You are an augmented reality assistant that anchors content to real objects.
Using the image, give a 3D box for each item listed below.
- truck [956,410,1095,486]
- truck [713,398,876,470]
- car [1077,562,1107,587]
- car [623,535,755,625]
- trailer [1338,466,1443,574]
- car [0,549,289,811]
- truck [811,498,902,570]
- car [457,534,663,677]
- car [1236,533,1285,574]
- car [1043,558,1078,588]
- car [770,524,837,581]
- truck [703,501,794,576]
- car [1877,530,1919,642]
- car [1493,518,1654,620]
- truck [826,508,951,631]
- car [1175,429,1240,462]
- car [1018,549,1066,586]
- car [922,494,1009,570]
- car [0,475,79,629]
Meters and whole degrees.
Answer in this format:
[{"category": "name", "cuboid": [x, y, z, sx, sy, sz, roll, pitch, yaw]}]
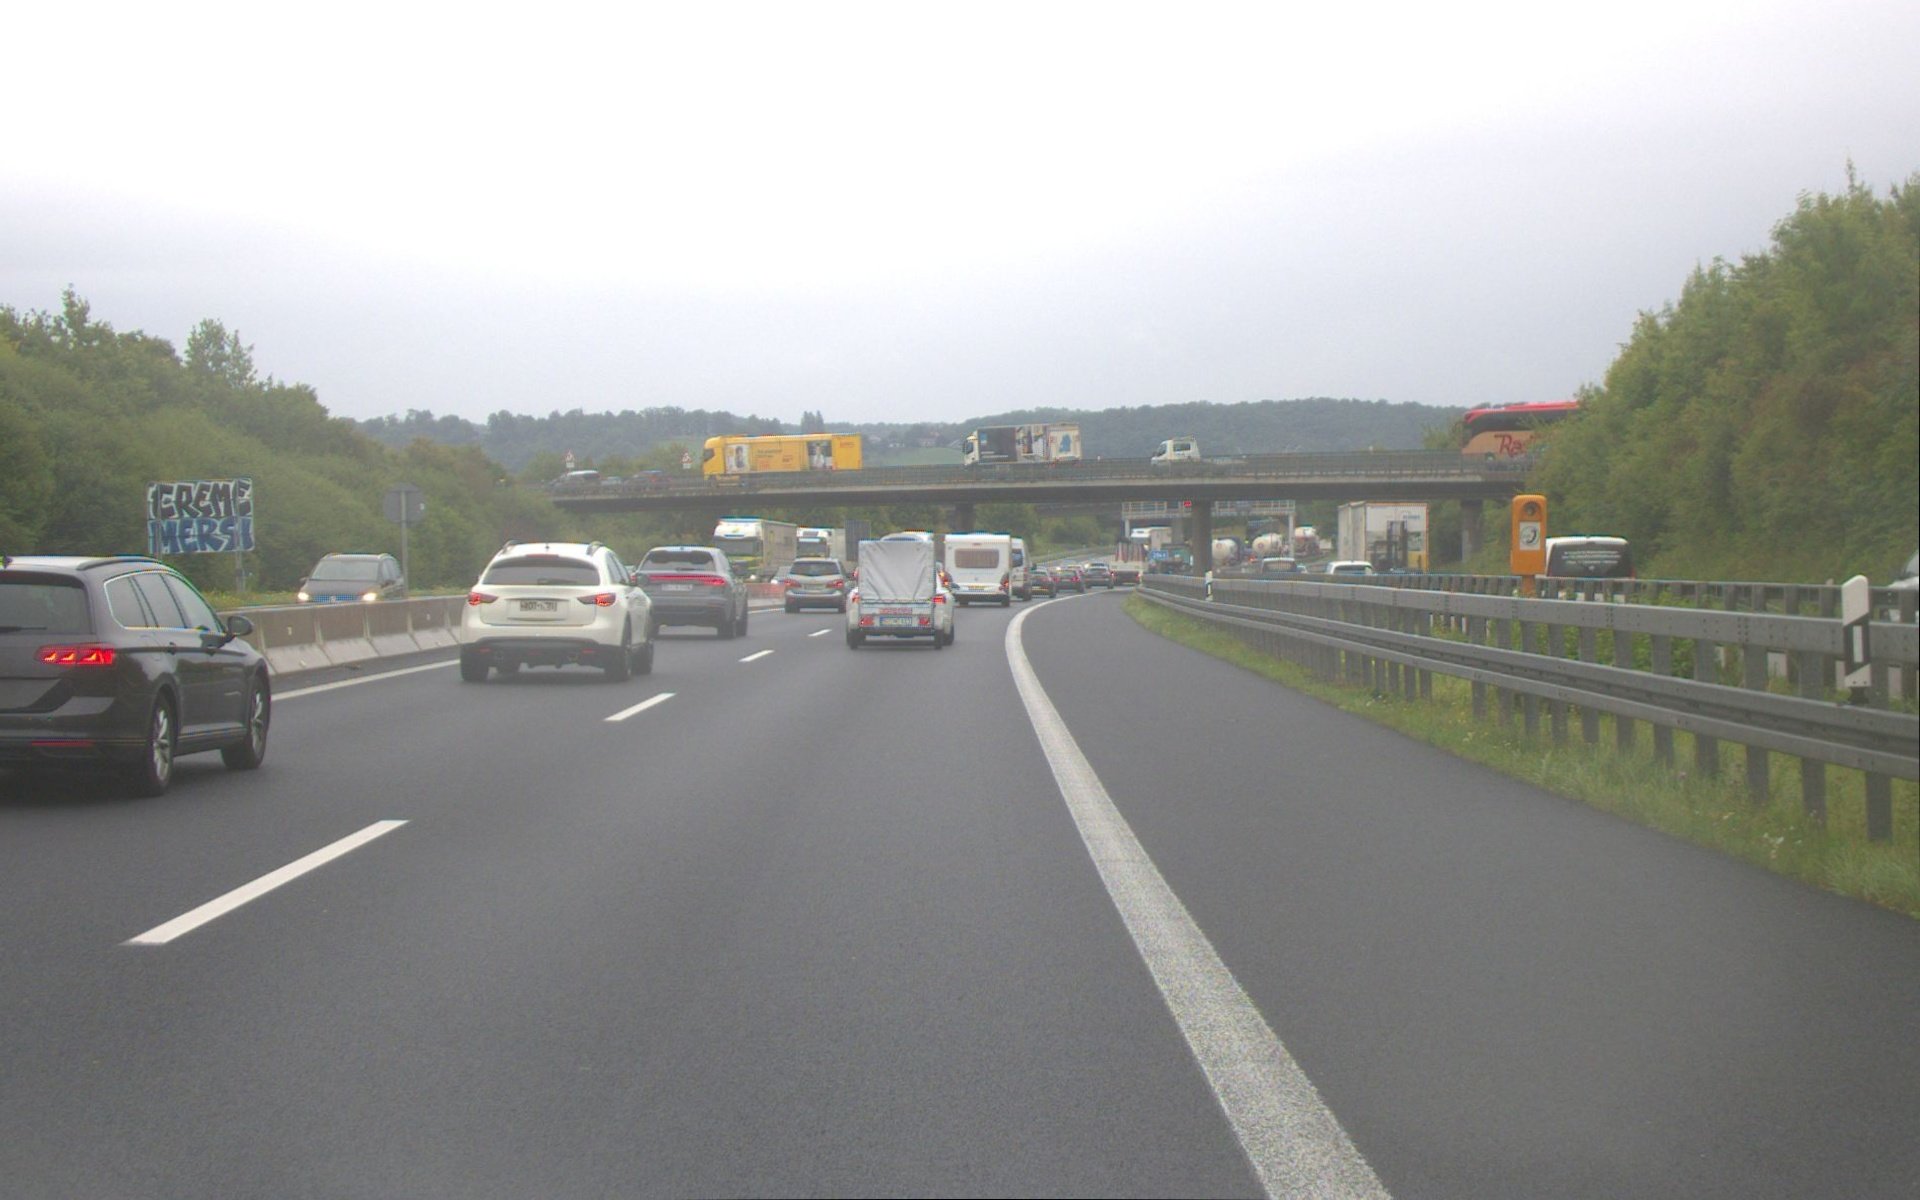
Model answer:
[{"category": "truck", "cuboid": [4.334, -10.126, 230.107, 3.767, 4.819, 10.041, -1, 1, -38]}, {"category": "truck", "cuboid": [-12.261, -12.079, 252.188, 3.767, 4.819, 15.241, -1, 1, -38]}, {"category": "car", "cuboid": [9.240, -1.783, 241.215, 1.993, 1.744, 4.000, 1, 1, 1]}, {"category": "car", "cuboid": [-5.043, -0.401, 64.509, 2.174, 1.626, 4.501, 0, 1, -1]}, {"category": "trailer", "cuboid": [17.668, -3.280, 141.789, 3.437, 4.274, 10.454, 0, 1, 2]}, {"category": "car", "cuboid": [-5.687, 0.433, 22.032, 1.900, 1.492, 4.852, 0, 1, -1]}, {"category": "truck", "cuboid": [-5.210, -3.346, 175.813, 3.766, 3.542, 13.186, 0, 1, 2]}, {"category": "car", "cuboid": [-4.777, 0.023, 41.612, 1.976, 1.633, 4.501, 0, 1, 0]}, {"category": "car", "cuboid": [13.464, -2.107, 154.070, 1.860, 1.799, 4.648, 0, 1, 1]}, {"category": "car", "cuboid": [6.114, -1.662, 209.238, 1.993, 1.744, 4.000, 1, 1, 0]}, {"category": "car", "cuboid": [-4.513, -1.386, 99.622, 1.900, 1.607, 4.017, 0, 1, -2]}, {"category": "truck", "cuboid": [-11.658, -3.404, 190.664, 3.766, 3.978, 13.186, 0, 1, 2]}, {"category": "car", "cuboid": [14.723, -0.209, 49.541, 1.896, 1.607, 4.146, 0, 1, 0]}, {"category": "car", "cuboid": [11.221, -0.589, 63.154, 2.007, 1.808, 4.277, 0, 1, -3]}, {"category": "truck", "cuboid": [-1.183, -0.567, 59.181, 2.019, 1.979, 7.213, 0, 1, 0]}, {"category": "car", "cuboid": [15.472, -9.658, 215.151, 1.838, 1.908, 3.999, 0, 1, -39]}, {"category": "car", "cuboid": [3.996, -1.603, 168.126, 1.993, 1.744, 4.001, 1, 1, -4]}, {"category": "car", "cuboid": [0.239, -2.436, 122.516, 3.017, 2.607, 6.075, 0, 1, 1]}, {"category": "car", "cuboid": [-12.786, -0.630, 44.143, 1.993, 1.895, 4.173, 1, 1, -2]}]
